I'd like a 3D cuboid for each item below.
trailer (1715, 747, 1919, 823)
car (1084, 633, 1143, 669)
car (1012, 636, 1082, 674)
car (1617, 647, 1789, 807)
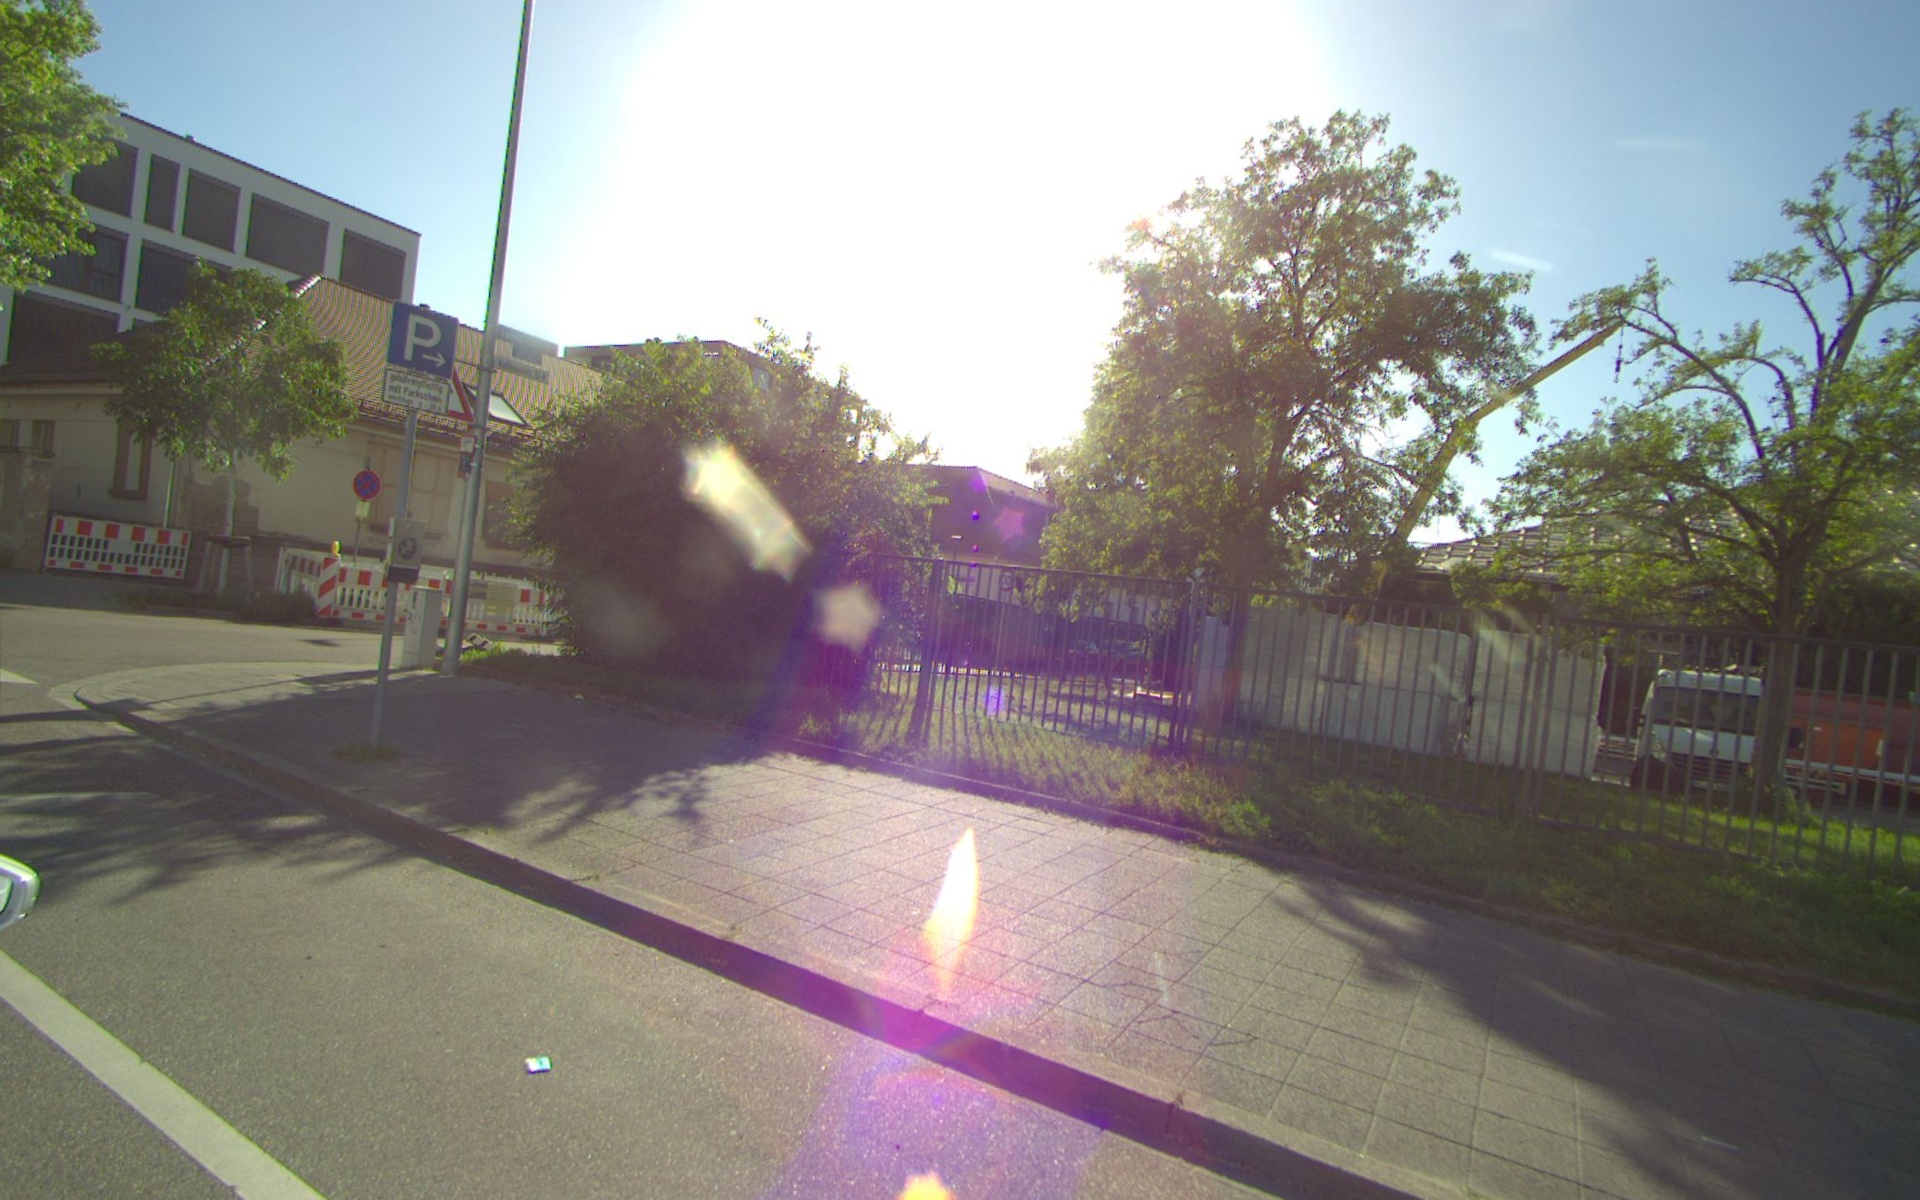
[{"bbox_3d":[19.671,4.133,21.941,5.034,0.930,1.897,7,-1,39],"label":"trailer"},{"bbox_3d":[8.063,2.689,52.581,1.784,1.548,3.321,7,-1,31],"label":"car"},{"bbox_3d":[3.957,2.505,45.458,1.784,1.424,3.321,7,-1,31],"label":"car"},{"bbox_3d":[13.419,2.230,18.302,1.969,2.229,5.286,8,0,36],"label":"car"}]
